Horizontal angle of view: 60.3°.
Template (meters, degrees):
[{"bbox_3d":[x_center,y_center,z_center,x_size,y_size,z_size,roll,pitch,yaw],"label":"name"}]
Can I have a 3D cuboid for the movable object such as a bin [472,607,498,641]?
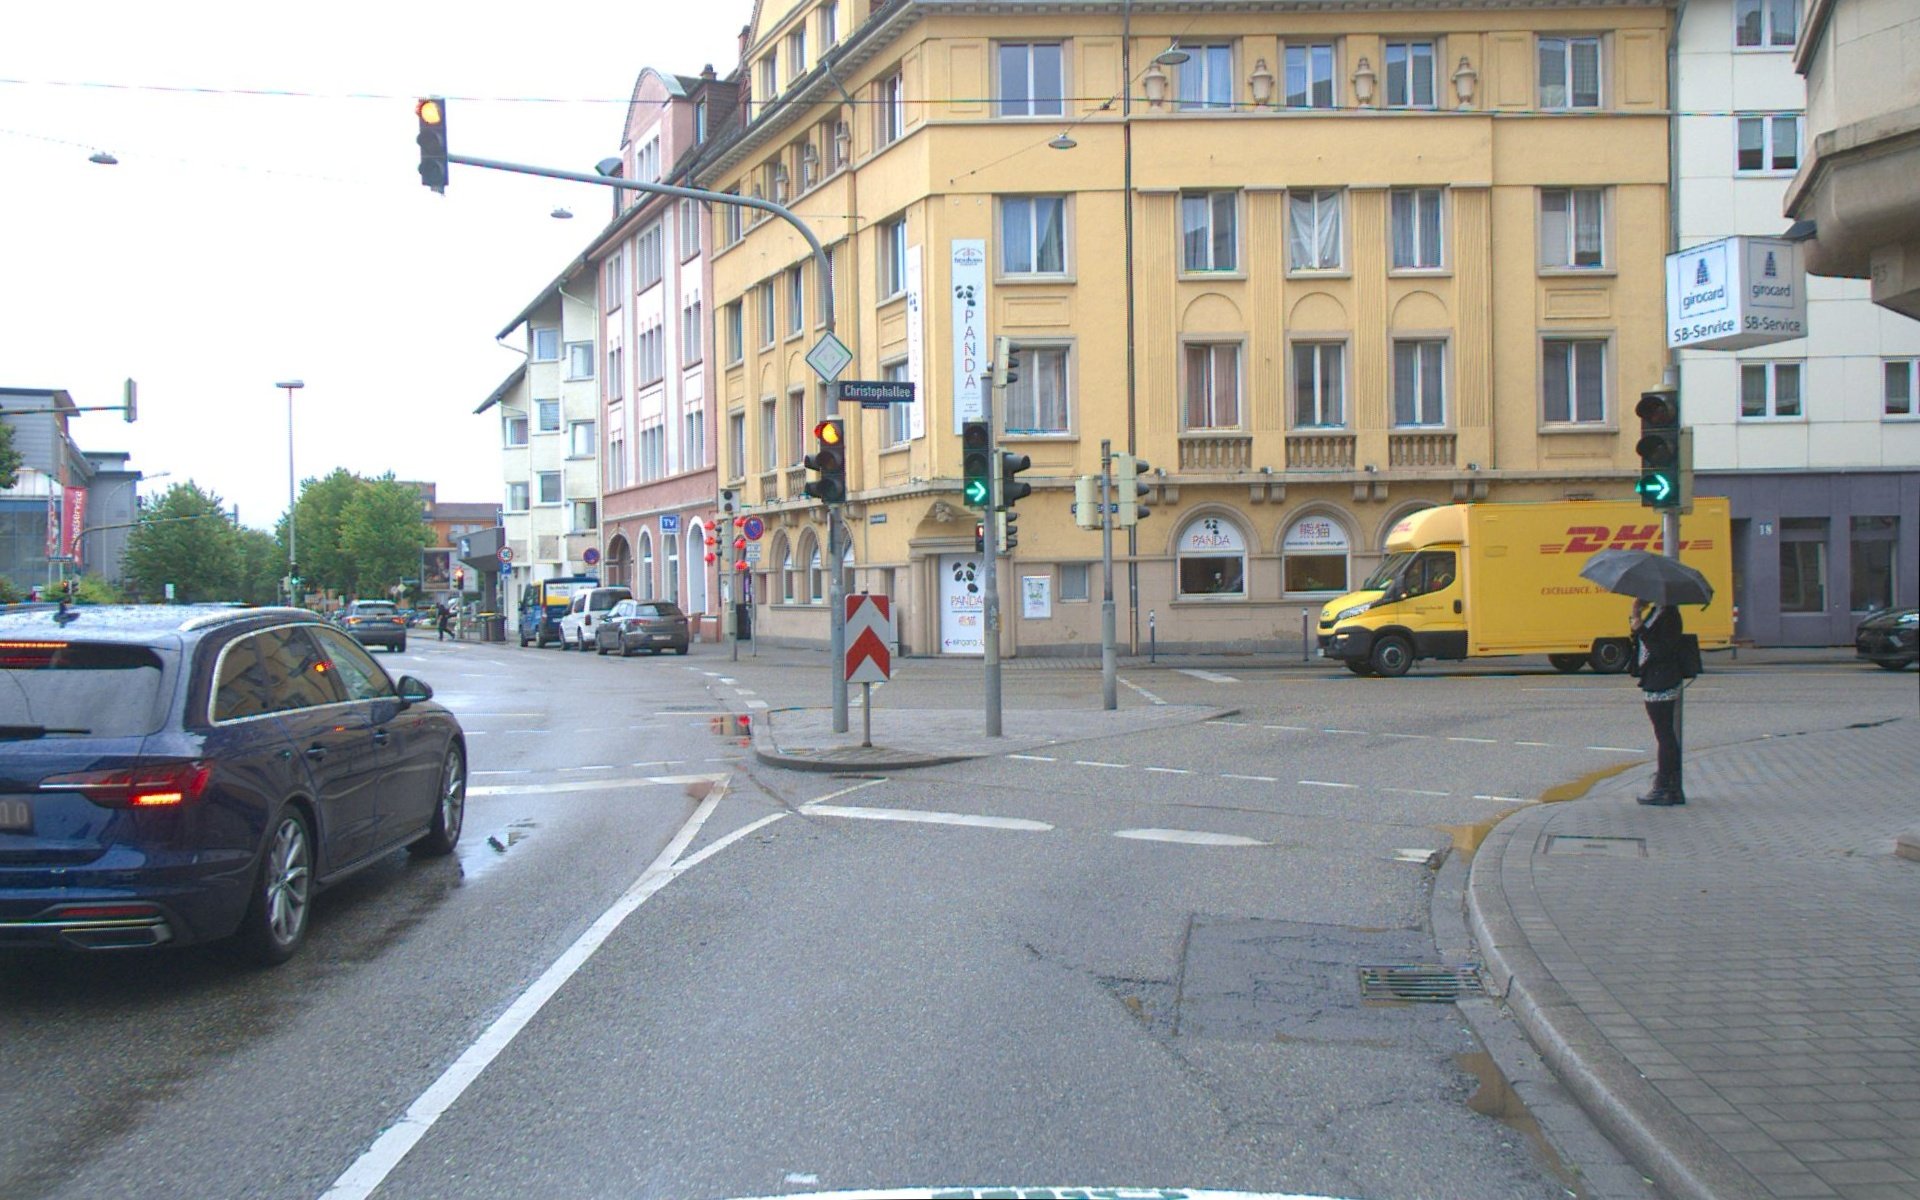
[{"bbox_3d":[-18.729,0.940,65.223,0.738,1.252,0.976,4,-1,-25],"label":"movable object such as a bin"}]

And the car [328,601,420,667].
[{"bbox_3d":[-17.503,0.966,49.289,1.972,1.847,3.961,0,0,-29],"label":"car"}]

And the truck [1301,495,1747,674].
[{"bbox_3d":[9.548,-0.263,28.381,6.948,2.901,2.082,0,0,-2],"label":"truck"}]

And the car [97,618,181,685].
[{"bbox_3d":[-22.078,1.345,44.579,1.739,1.663,3.600,0,0,-22],"label":"car"}]

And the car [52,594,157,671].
[{"bbox_3d":[-20.286,0.731,39.350,1.819,1.713,3.973,1,0,-22],"label":"car"}]

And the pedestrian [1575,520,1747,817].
[{"bbox_3d":[4.828,0.444,11.470,1.035,1.937,1.025,0,0,20],"label":"pedestrian"}]

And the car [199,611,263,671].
[{"bbox_3d":[-26.571,1.445,60.404,1.966,2.049,3.973,-1,0,-22],"label":"car"}]

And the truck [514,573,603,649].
[{"bbox_3d":[-13.410,0.336,55.075,2.001,2.431,4.201,0,1,-26],"label":"truck"}]

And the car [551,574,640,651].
[{"bbox_3d":[-11.024,0.326,49.883,1.740,2.218,3.967,0,1,-26],"label":"car"}]

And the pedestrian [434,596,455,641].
[{"bbox_3d":[-22.752,0.800,72.992,0.714,1.971,0.786,0,0,-28],"label":"pedestrian"}]

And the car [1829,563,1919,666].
[{"bbox_3d":[17.873,0.217,28.572,4.713,1.714,2.000,0,0,-2],"label":"car"}]

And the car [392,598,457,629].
[{"bbox_3d":[-38.234,0.968,118.025,3.957,2.049,1.974,2,0,-37],"label":"car"}]

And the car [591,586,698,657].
[{"bbox_3d":[-8.344,0.522,43.524,1.855,1.665,3.968,-1,2,-25],"label":"car"}]

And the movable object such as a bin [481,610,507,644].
[{"bbox_3d":[-18.018,1.030,63.914,0.738,1.252,0.976,4,-1,-25],"label":"movable object such as a bin"}]

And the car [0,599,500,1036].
[{"bbox_3d":[-3.539,0.718,7.733,1.767,1.430,4.680,0,0,-4],"label":"car"}]
